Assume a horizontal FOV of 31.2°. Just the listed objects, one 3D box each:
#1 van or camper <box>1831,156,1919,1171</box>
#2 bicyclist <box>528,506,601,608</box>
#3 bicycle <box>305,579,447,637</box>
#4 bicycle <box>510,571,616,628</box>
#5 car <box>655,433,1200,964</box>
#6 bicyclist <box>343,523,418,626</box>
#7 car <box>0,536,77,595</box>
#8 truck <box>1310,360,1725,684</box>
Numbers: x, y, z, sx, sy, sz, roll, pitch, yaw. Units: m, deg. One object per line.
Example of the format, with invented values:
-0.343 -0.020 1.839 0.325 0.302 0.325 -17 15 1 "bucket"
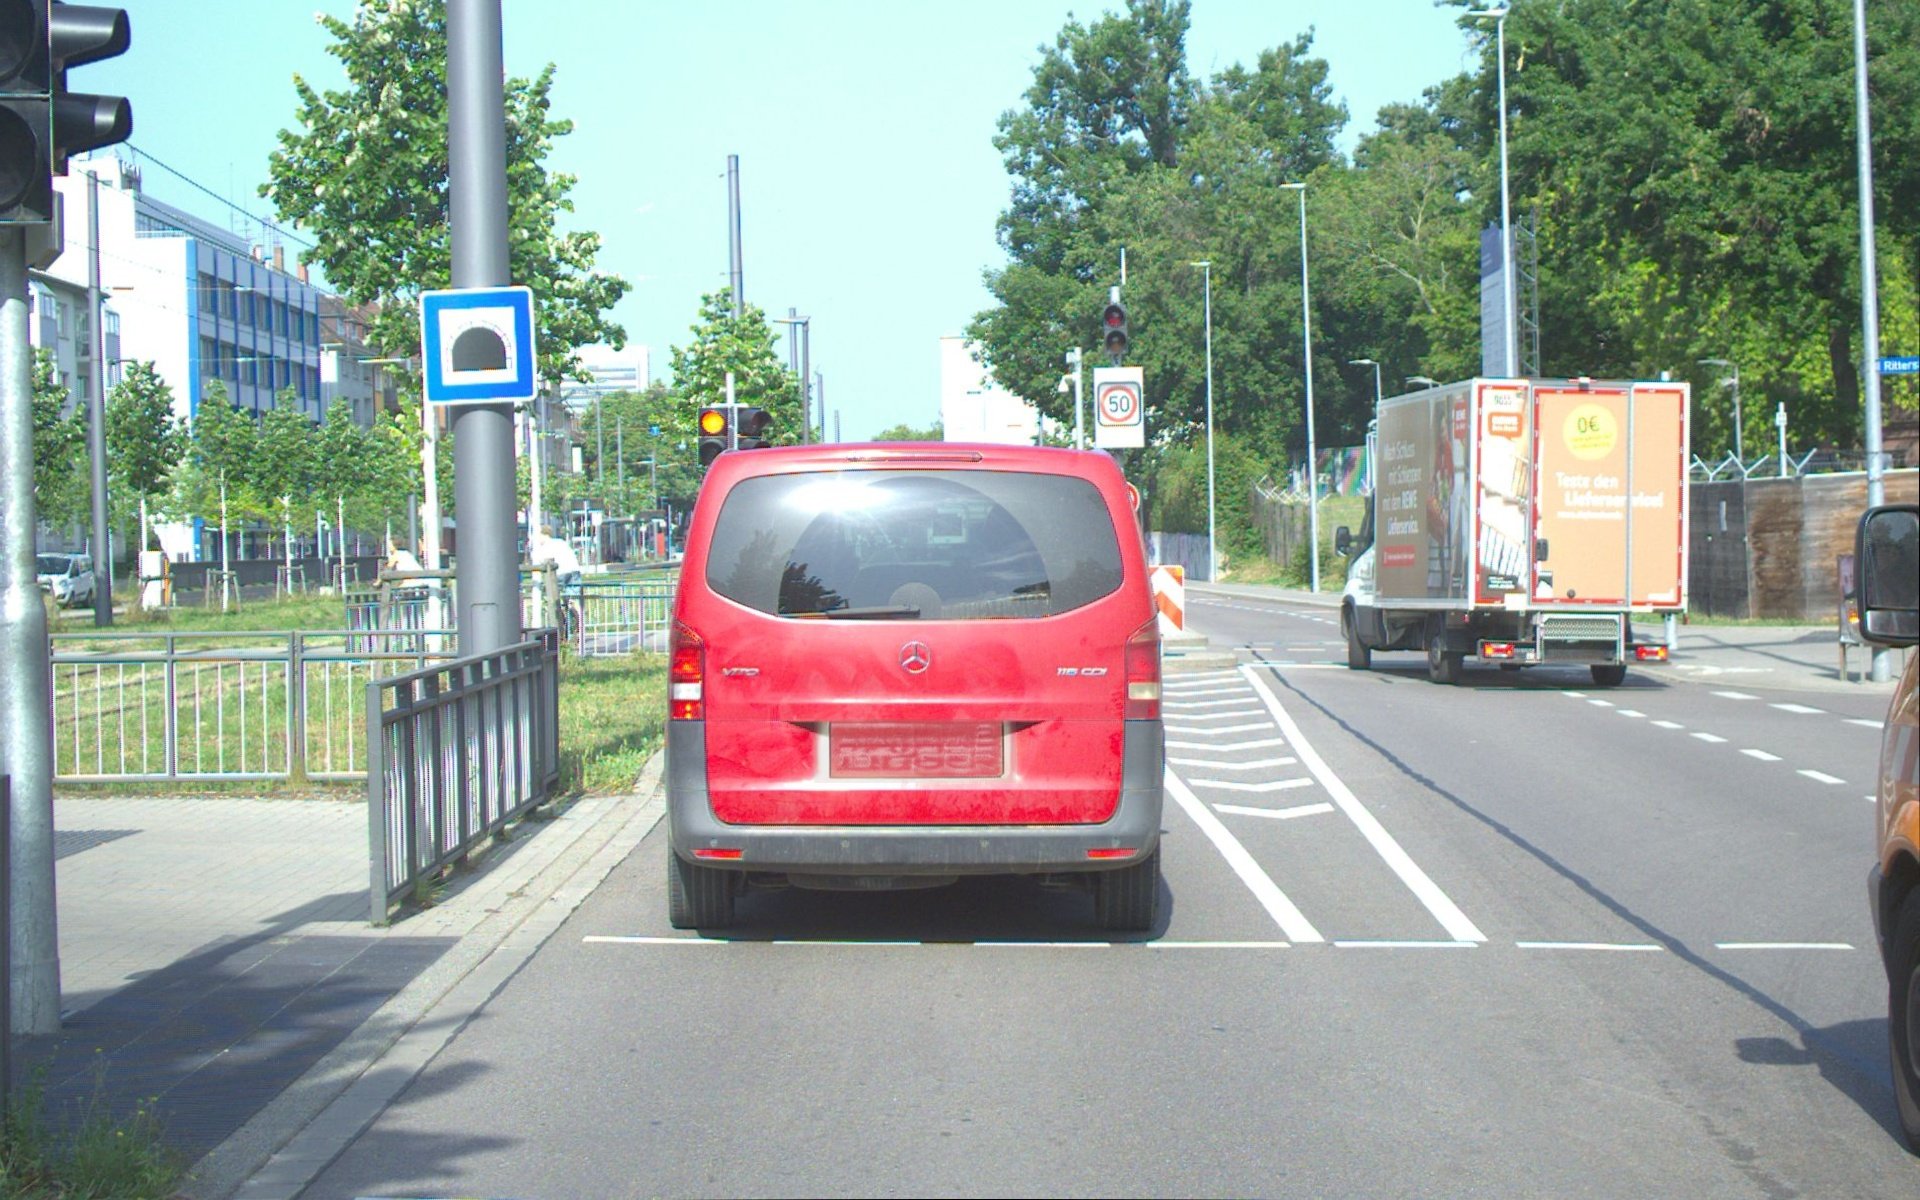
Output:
3.253 0.209 6.197 1.986 2.463 6.061 1 1 2 "van or camper"
-5.664 -0.617 49.217 0.686 1.435 0.804 1 0 28 "bicyclist"
-8.646 0.114 50.910 1.996 0.791 0.629 -1 1 -3 "bicycle"
-5.678 -0.007 49.225 0.719 0.795 1.601 1 1 28 "bicycle"
-0.137 0.313 14.100 1.901 1.853 4.000 1 1 -1 "car"
-8.576 -0.378 50.900 0.983 1.495 0.620 -1 1 -4 "bicyclist"
-33.718 -1.234 124.667 2.249 2.007 5.263 1 -1 -2 "car"
5.727 -0.780 36.719 2.501 3.050 7.821 1 1 -5 "truck"
